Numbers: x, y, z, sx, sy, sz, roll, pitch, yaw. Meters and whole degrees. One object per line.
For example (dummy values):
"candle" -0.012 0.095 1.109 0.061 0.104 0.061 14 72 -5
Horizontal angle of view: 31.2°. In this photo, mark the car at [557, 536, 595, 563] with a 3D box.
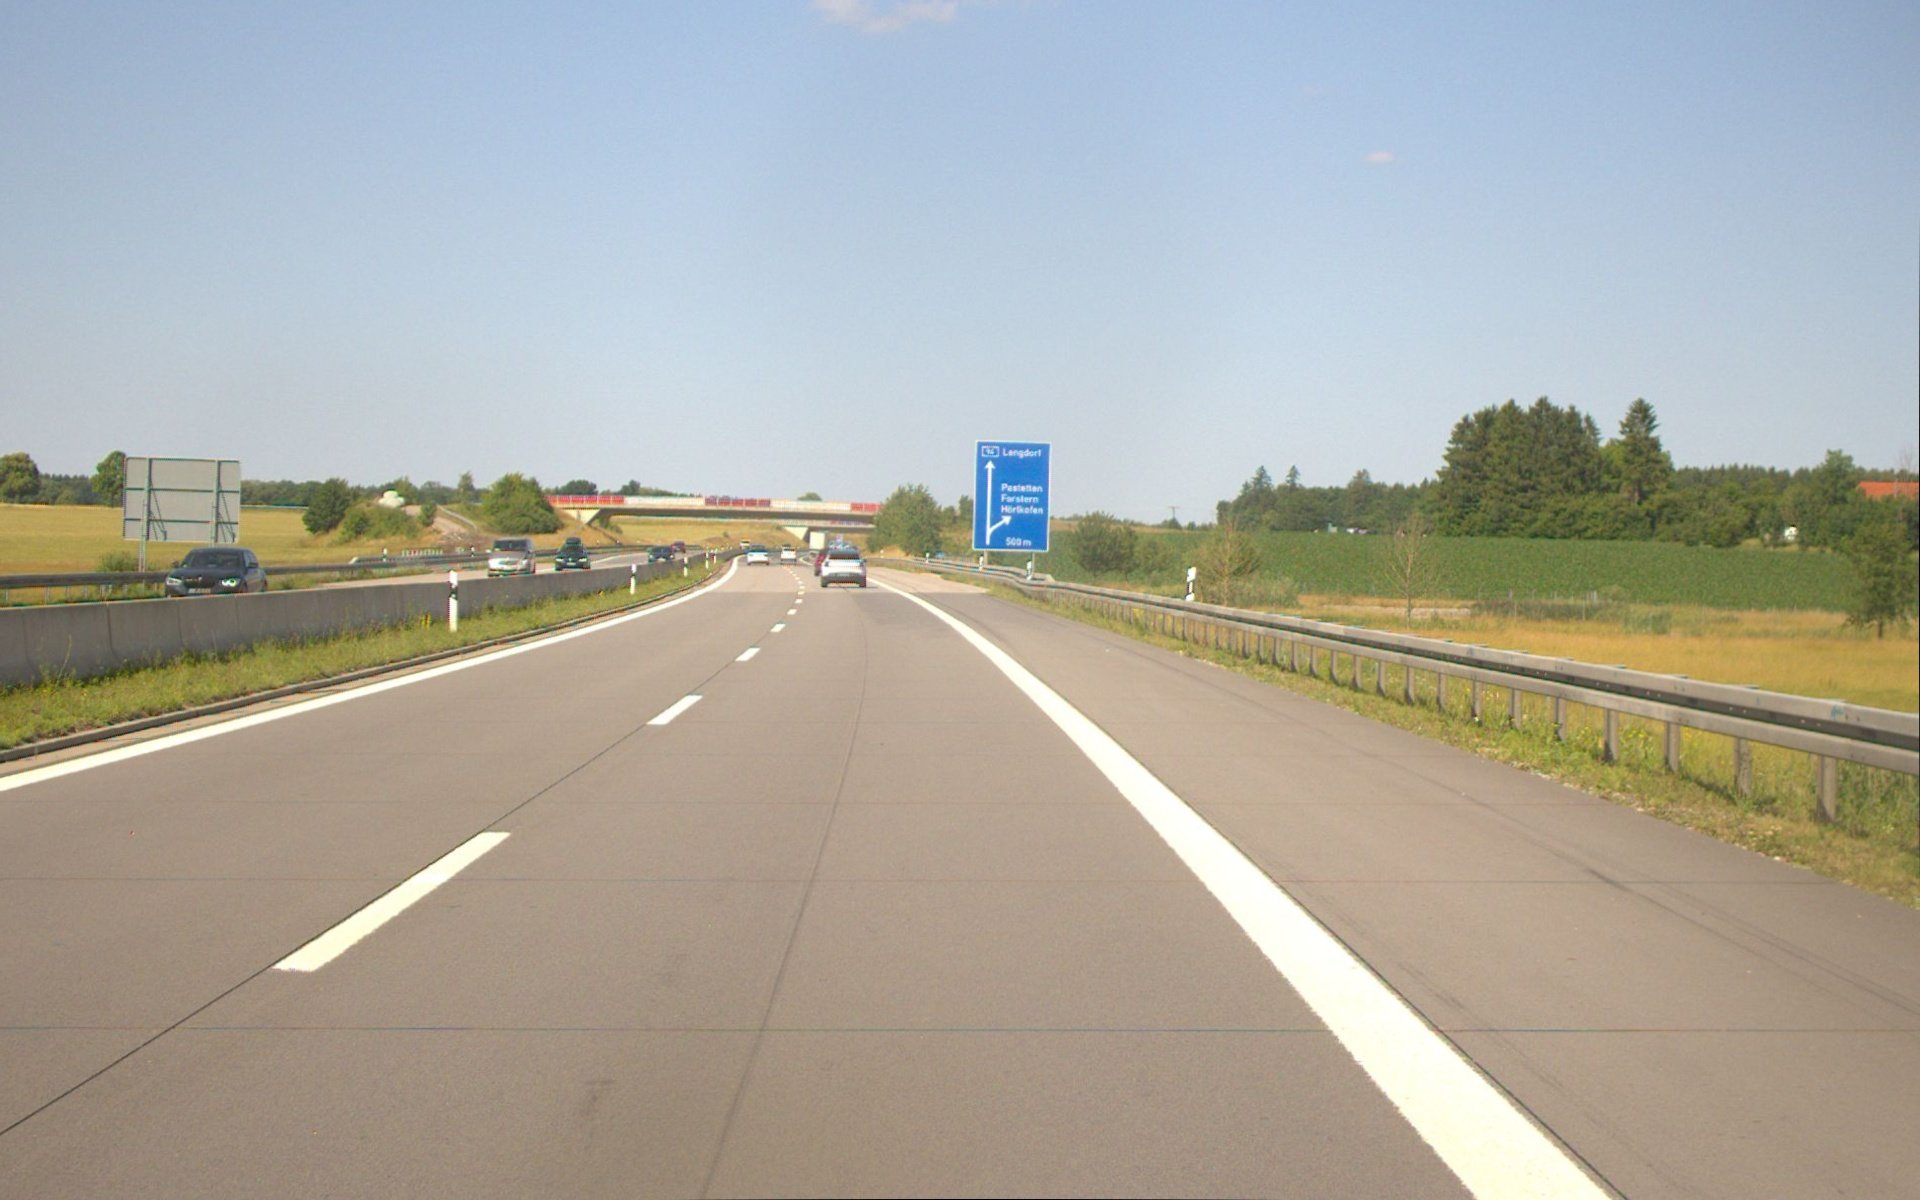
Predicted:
"car" -22.337 -2.967 200.082 1.897 1.518 4.806 0 1 -3

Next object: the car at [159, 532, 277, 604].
"car" -16.898 -0.755 78.512 1.858 1.579 4.915 0 1 -3

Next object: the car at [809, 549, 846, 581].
"car" -7.415 -1.946 192.220 1.993 1.725 4.870 1 1 -2

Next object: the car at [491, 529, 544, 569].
"car" -20.236 -2.350 157.445 1.954 1.835 5.450 0 1 -3

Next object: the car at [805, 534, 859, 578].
"car" -5.290 -1.828 141.745 1.993 1.725 4.870 1 1 -4

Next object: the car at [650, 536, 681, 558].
"car" -20.278 -3.676 236.870 1.897 1.518 4.806 0 1 -3
